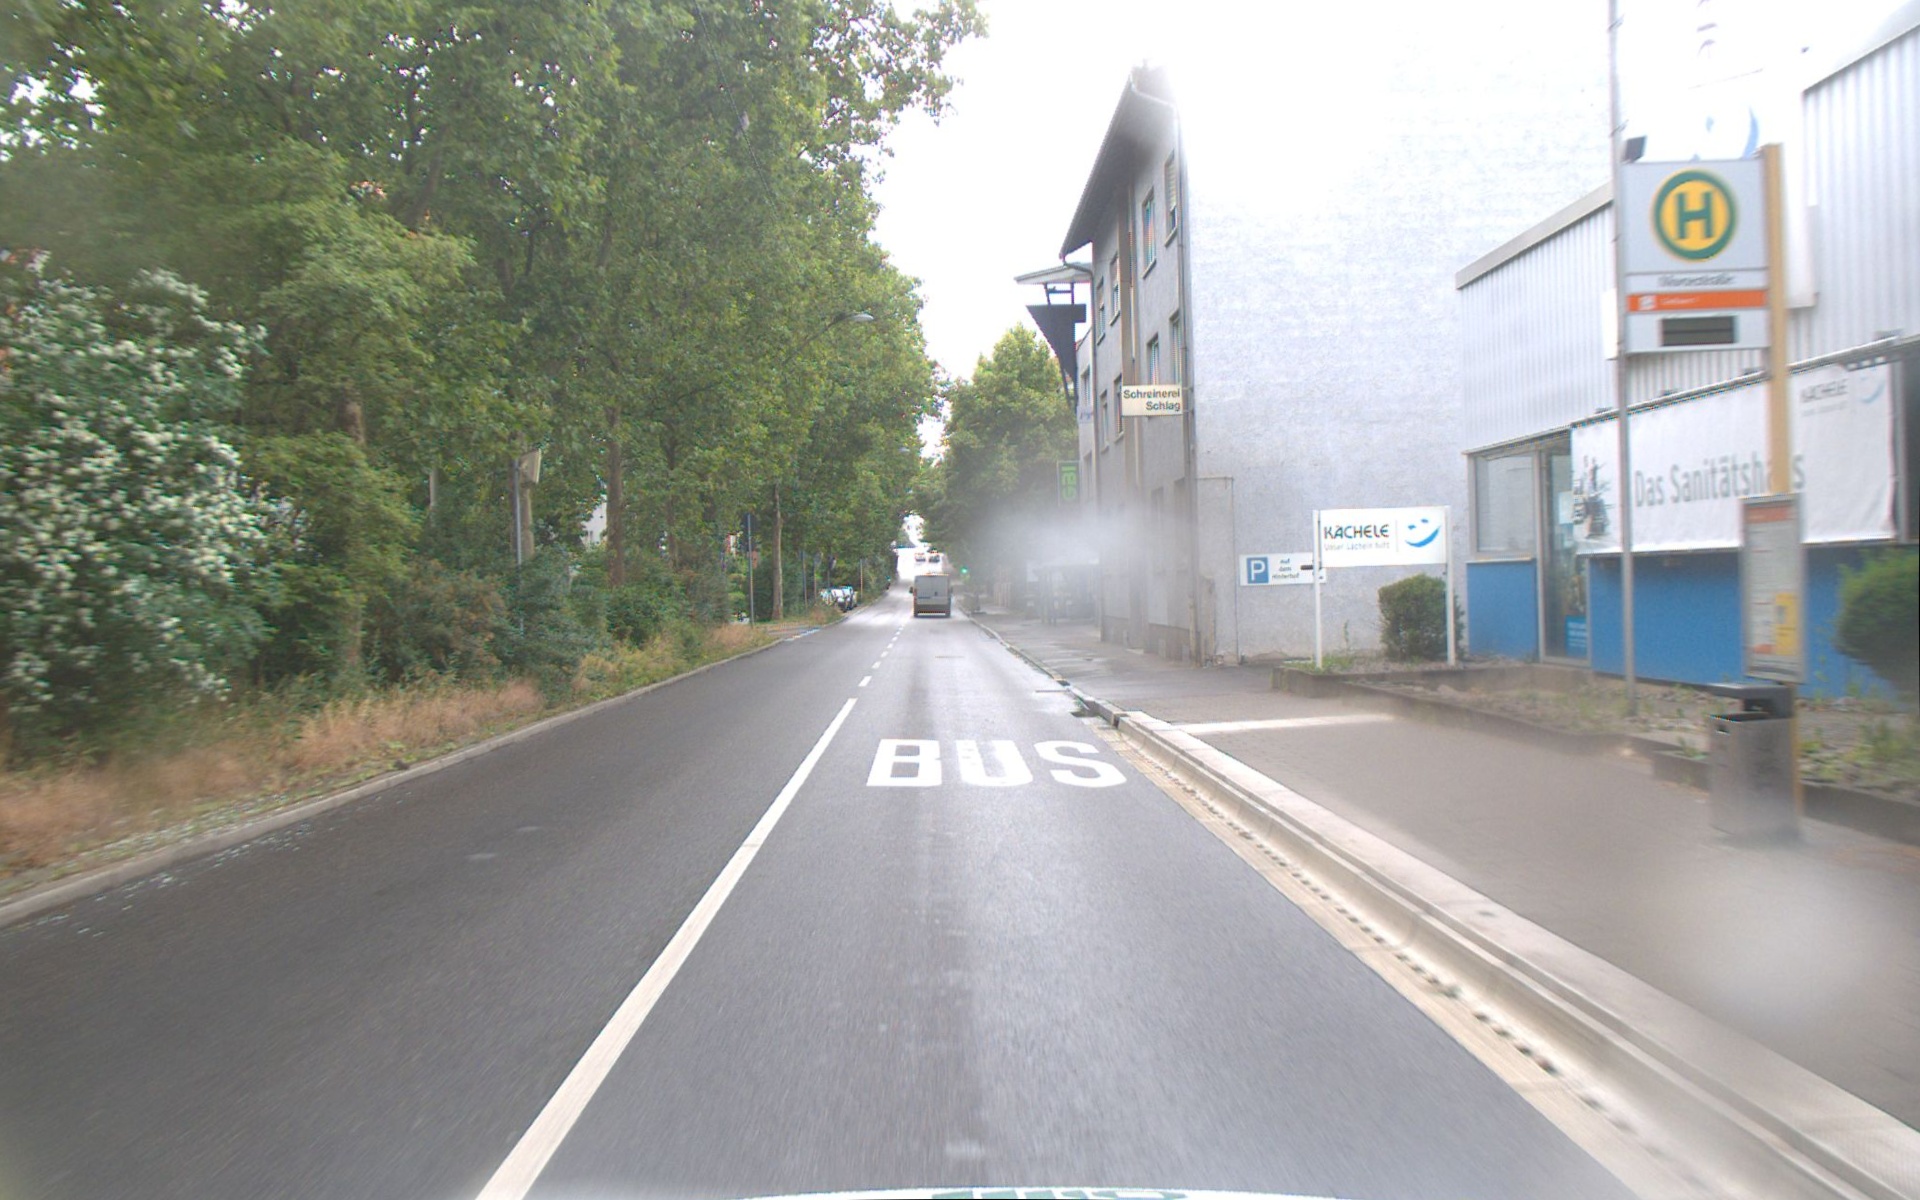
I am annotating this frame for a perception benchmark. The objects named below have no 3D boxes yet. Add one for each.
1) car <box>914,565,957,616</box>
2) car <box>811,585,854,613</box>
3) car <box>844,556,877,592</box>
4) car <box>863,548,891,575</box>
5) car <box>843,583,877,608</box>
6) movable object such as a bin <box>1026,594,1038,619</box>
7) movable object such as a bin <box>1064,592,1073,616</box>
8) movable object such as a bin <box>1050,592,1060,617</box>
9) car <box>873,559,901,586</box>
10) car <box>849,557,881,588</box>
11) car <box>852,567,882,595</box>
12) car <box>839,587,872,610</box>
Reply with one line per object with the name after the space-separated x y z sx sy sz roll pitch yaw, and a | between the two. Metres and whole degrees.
-1.316 -0.485 90.119 2.236 2.597 3.999 -1 -2 -1 | car
-7.913 -0.018 102.992 2.170 1.620 4.609 0 -2 1 | car
-7.722 -1.994 128.696 2.170 2.578 4.609 0 -1 1 | car
-7.386 -3.396 148.289 2.170 2.334 4.610 0 0 1 | car
-7.446 -0.353 123.218 2.170 1.721 4.609 0 -2 1 | car
3.217 0.275 74.172 0.392 1.085 0.358 -4 -1 -7 | movable object such as a bin
4.886 0.193 74.269 0.349 1.085 0.358 0 -2 -7 | movable object such as a bin
4.253 0.204 74.242 0.392 1.085 0.358 -1 -2 -7 | movable object such as a bin
-6.877 -2.604 155.752 2.169 2.334 4.611 0 -2 3 | car
-7.683 -2.237 134.272 2.170 2.334 4.609 0 -2 1 | car
-7.826 -1.592 139.941 2.170 2.334 4.610 0 0 1 | car
-7.403 -0.089 117.736 1.954 1.570 4.609 0 -2 1 | car
